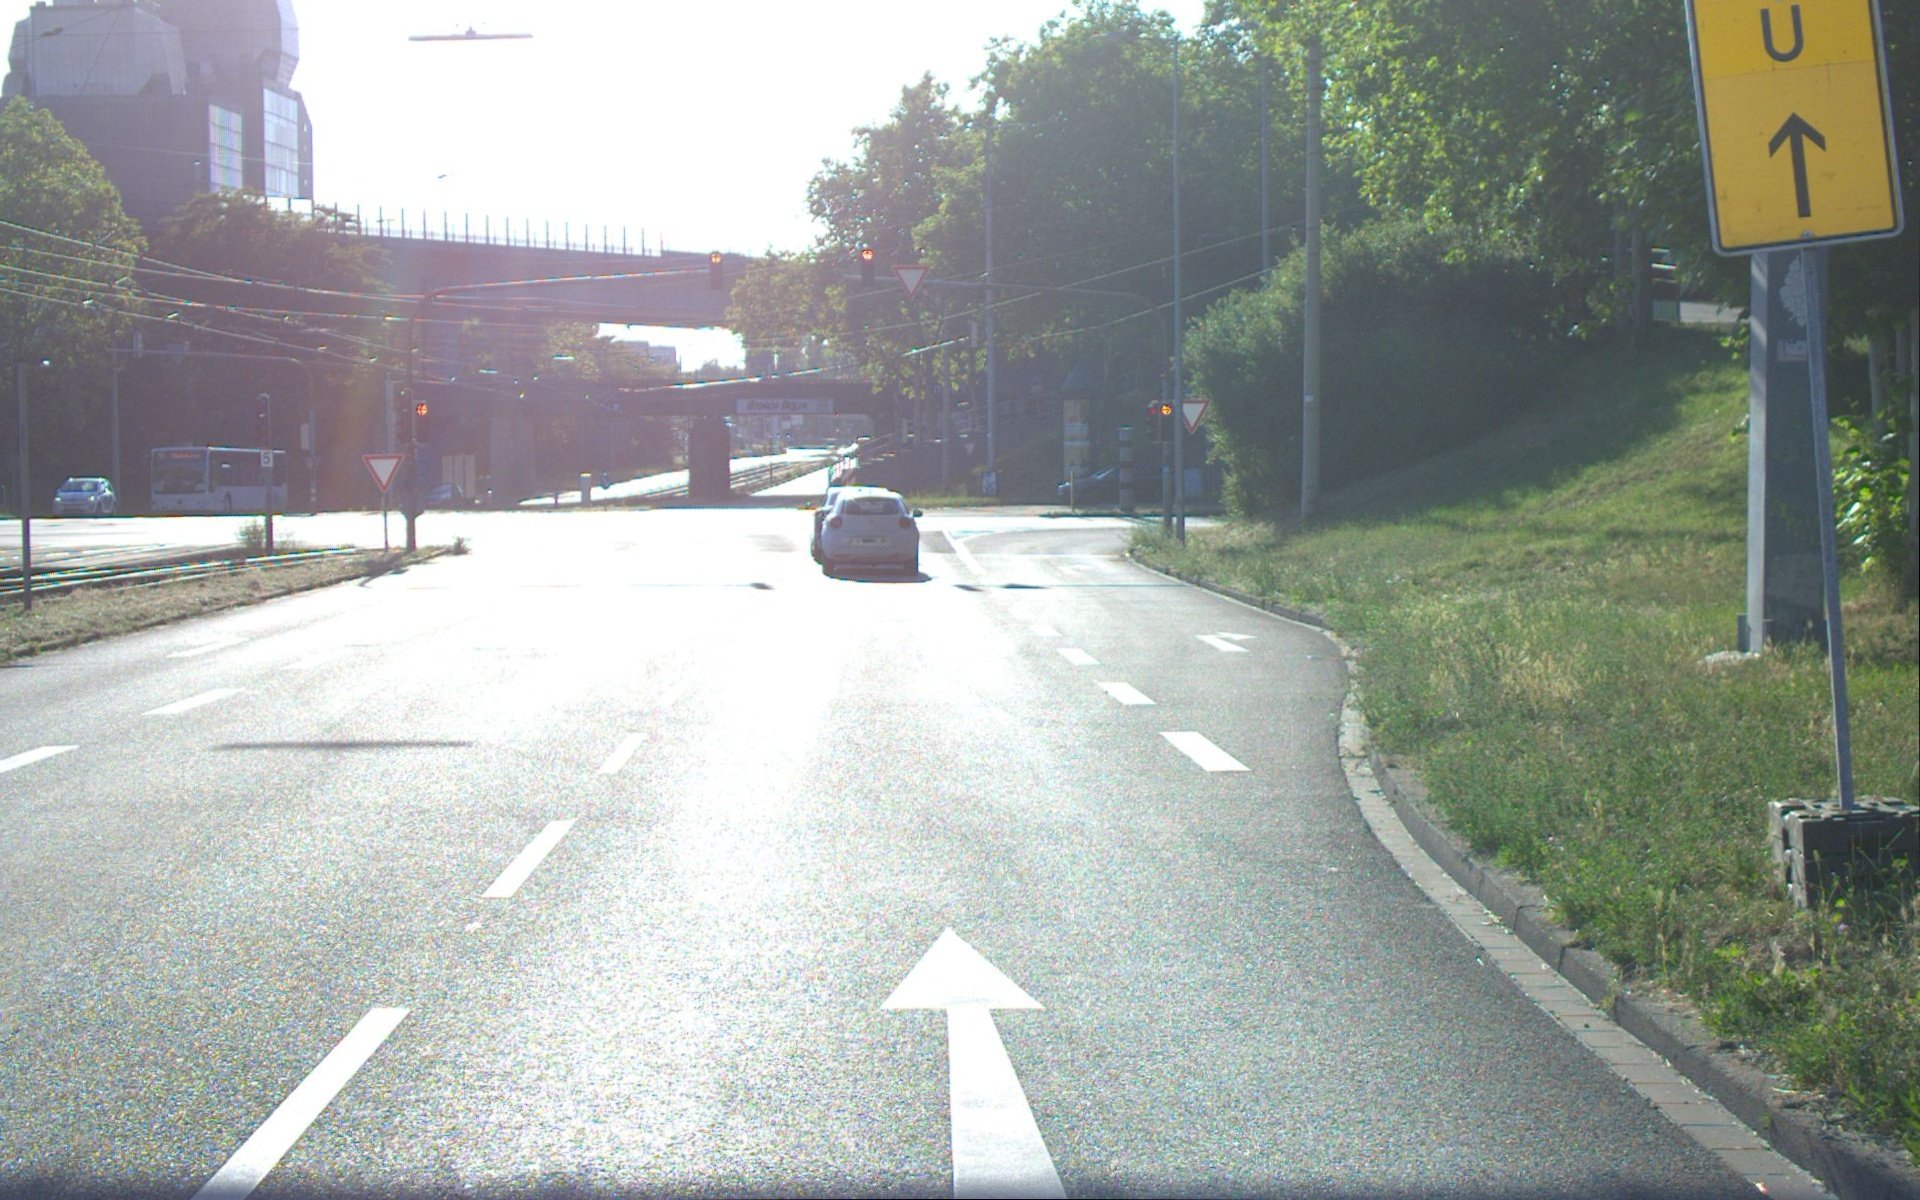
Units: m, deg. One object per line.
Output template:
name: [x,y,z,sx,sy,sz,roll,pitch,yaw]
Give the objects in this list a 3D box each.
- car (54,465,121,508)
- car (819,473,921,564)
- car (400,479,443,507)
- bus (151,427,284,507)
car: [-31.675,-4.123,124.835,1.606,1.507,4.009,0,3,-3]
car: [-1.634,-1.485,61.428,1.736,1.500,4.001,-1,3,-2]
car: [-28.457,-5.674,181.598,1.606,1.414,4.008,1,3,0]
bus: [-31.360,-5.560,145.757,2.543,3.119,12.918,-1,1,1]
